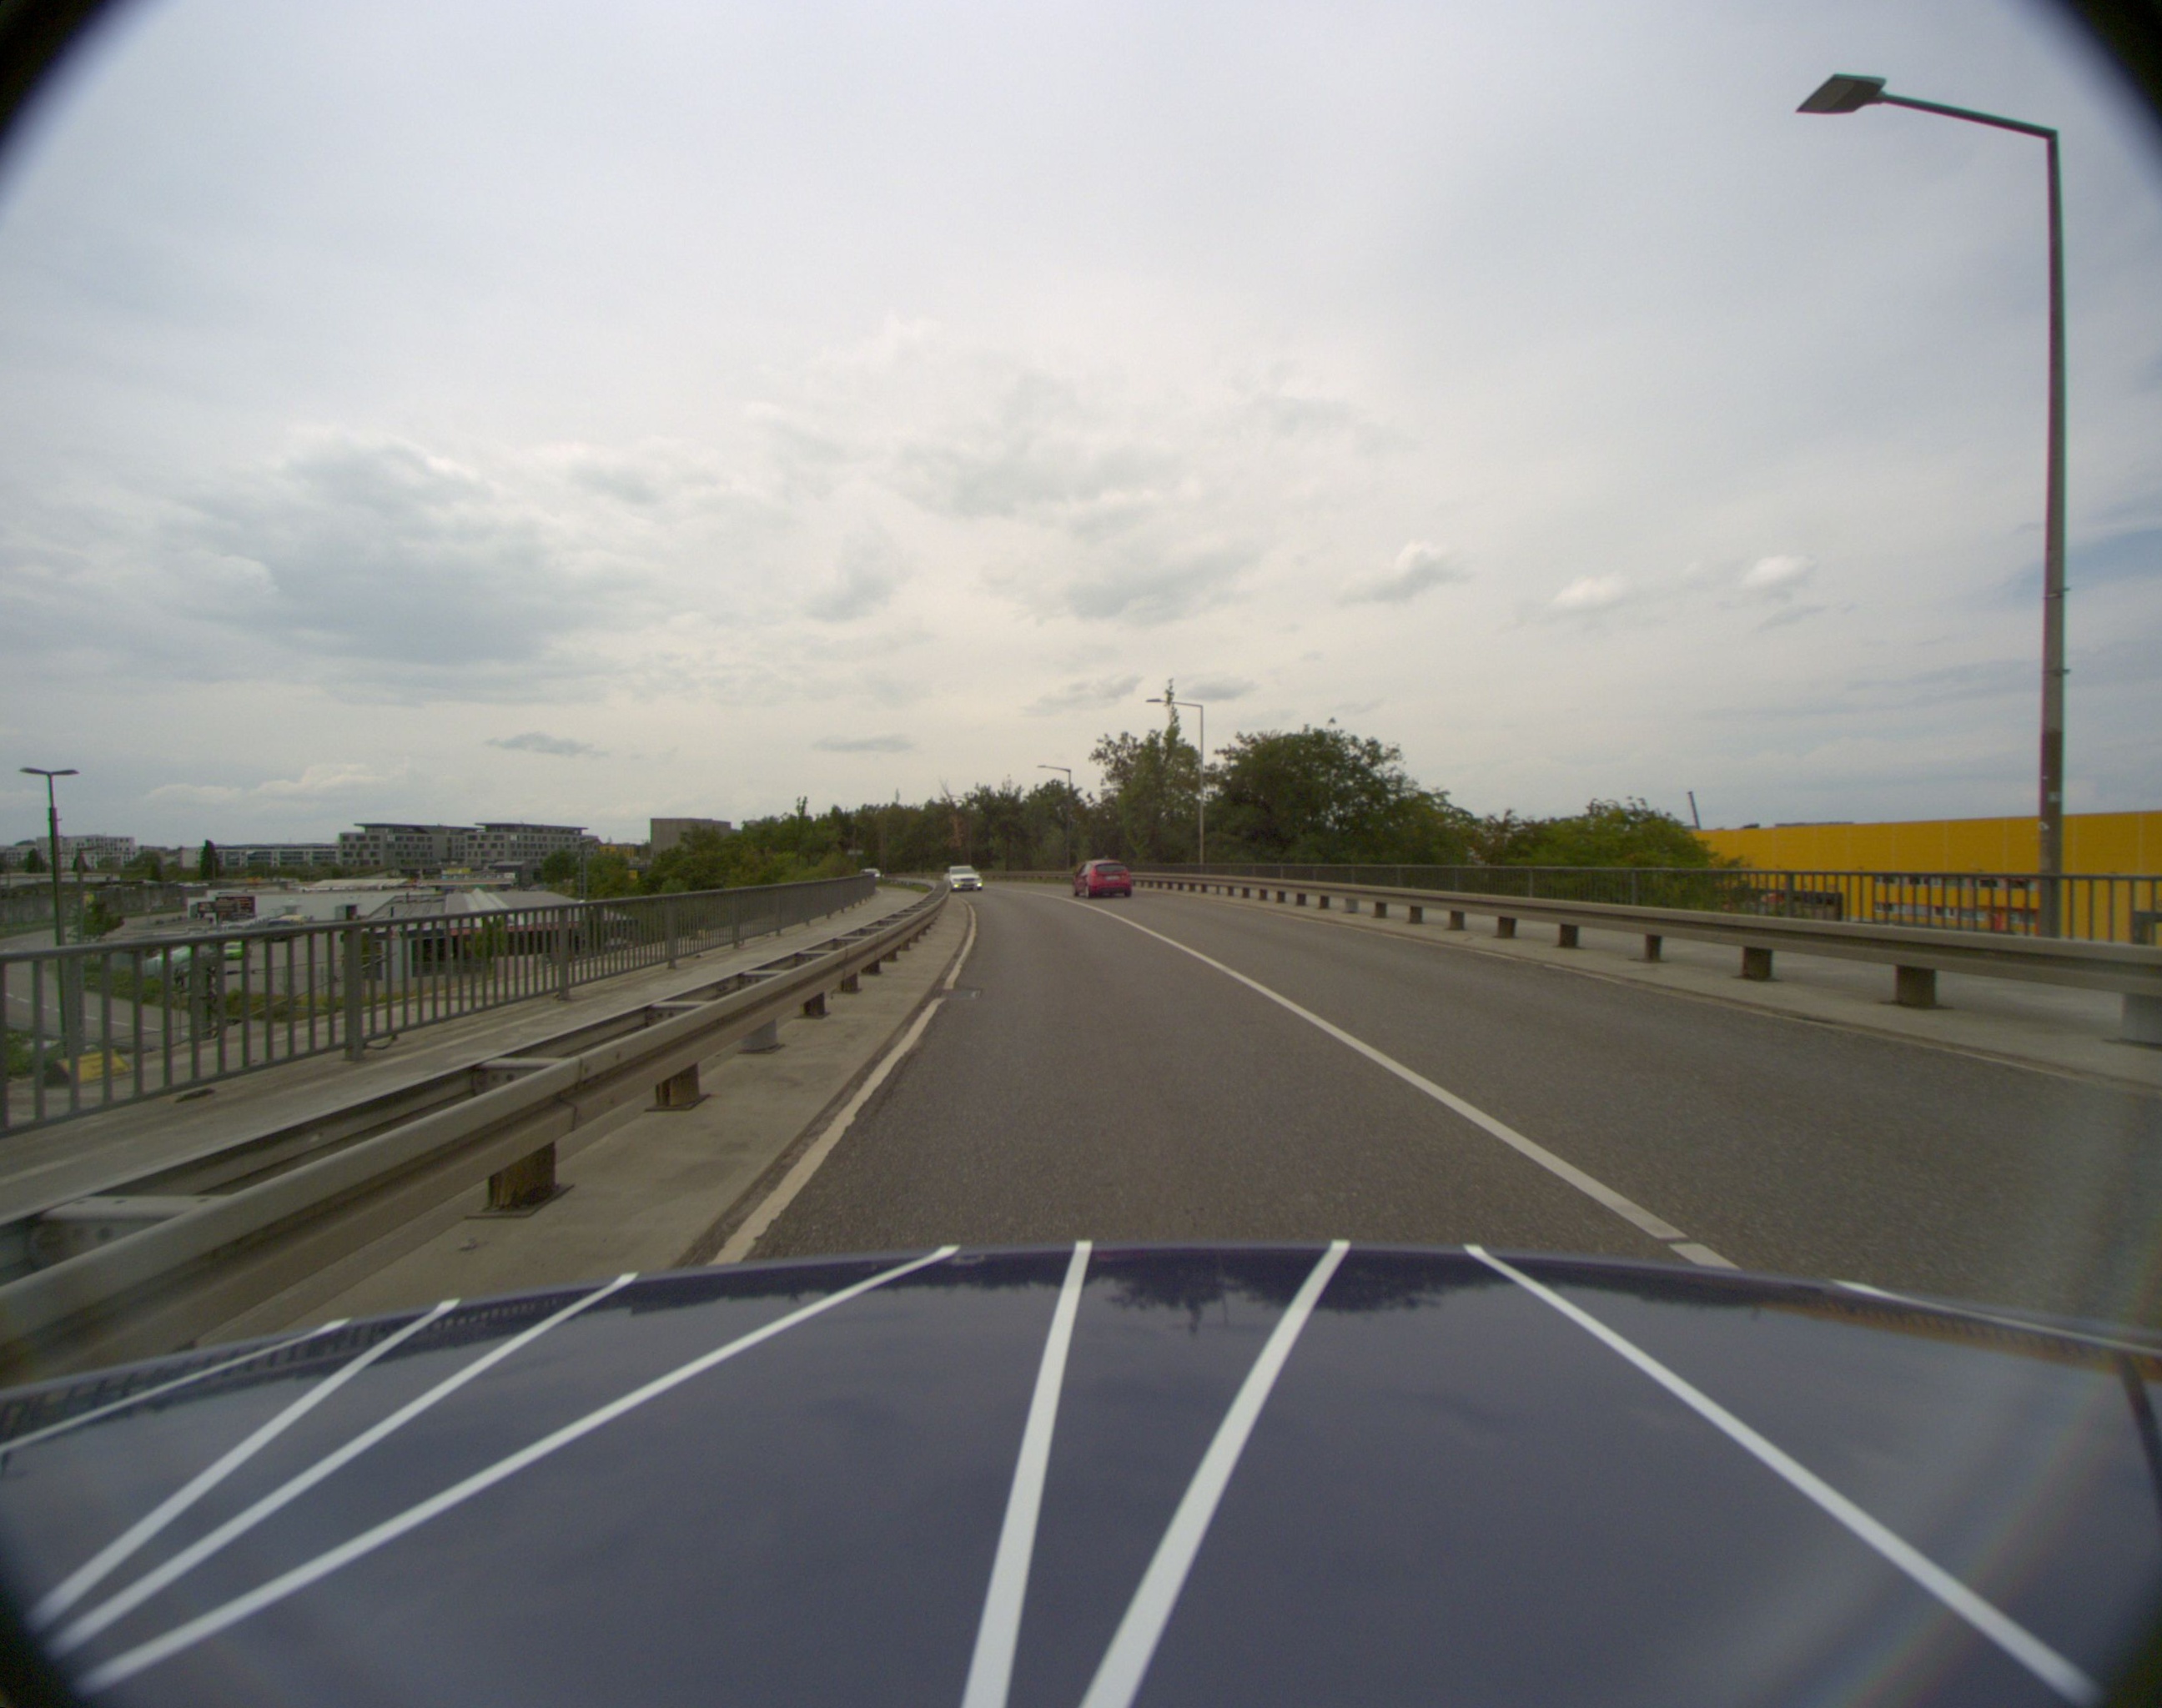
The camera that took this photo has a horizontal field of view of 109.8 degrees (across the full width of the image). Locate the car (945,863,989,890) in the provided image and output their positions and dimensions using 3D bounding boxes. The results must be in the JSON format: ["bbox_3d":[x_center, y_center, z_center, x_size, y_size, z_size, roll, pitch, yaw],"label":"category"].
[{"bbox_3d":[-6.712,1.302,44.316,1.940,1.448,3.881,-3,-1,-17],"label":"car"}]

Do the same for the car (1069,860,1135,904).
[{"bbox_3d":[0.758,1.038,29.684,1.765,1.483,3.996,-3,1,-10],"label":"car"}]

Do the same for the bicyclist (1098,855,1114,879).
[{"bbox_3d":[1.538,0.832,46.972,0.713,1.436,0.747,-3,0,-20],"label":"bicyclist"}]

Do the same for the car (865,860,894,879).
[{"bbox_3d":[-20.577,1.608,77.448,1.966,1.694,4.424,-3,-1,-27],"label":"car"}]
